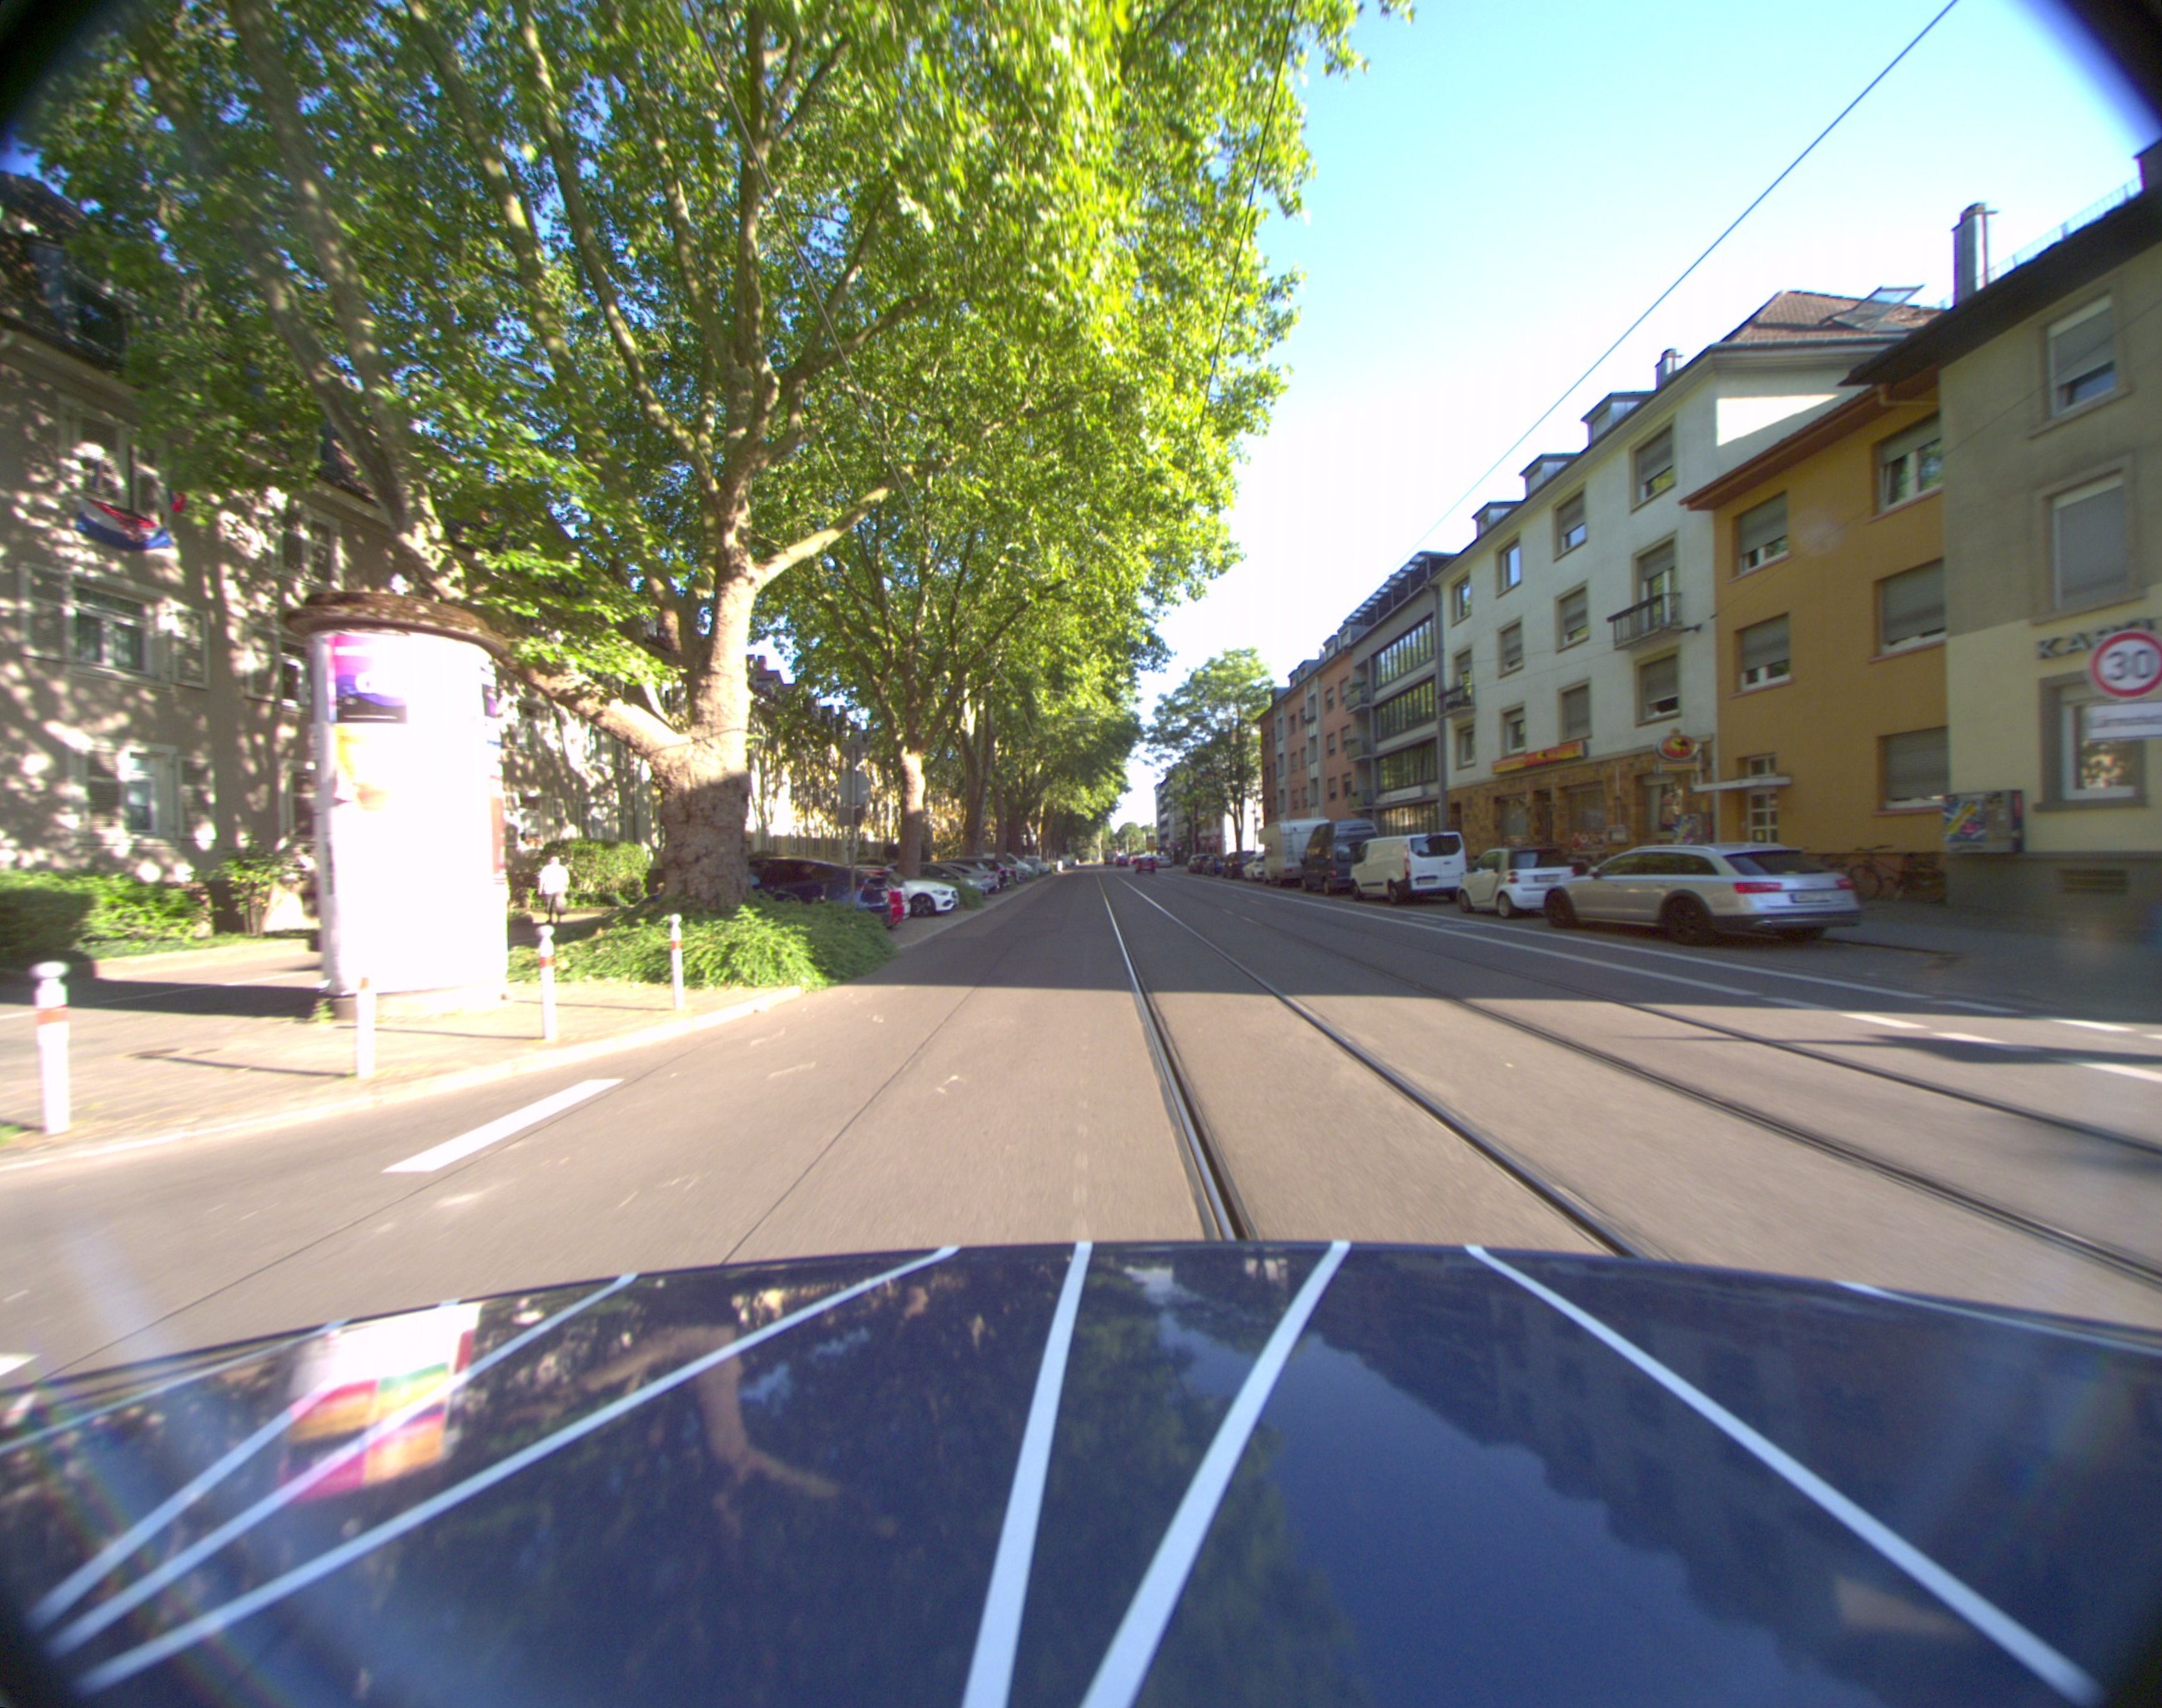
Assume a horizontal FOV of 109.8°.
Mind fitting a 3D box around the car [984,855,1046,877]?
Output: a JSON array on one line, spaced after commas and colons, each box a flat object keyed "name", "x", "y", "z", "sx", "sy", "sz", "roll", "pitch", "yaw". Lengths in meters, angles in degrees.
[{"name": "car", "x": -5.110, "y": 0.938, "z": 59.400, "sx": 4.611, "sy": 1.631, "sz": 1.893, "roll": -1, "pitch": 0, "yaw": 4}]

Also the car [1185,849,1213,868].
[{"name": "car", "x": 10.603, "y": 0.419, "z": 68.321, "sx": 1.791, "sy": 1.586, "sz": 4.097, "roll": -3, "pitch": 0, "yaw": 0}]

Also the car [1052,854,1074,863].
[{"name": "car", "x": -3.003, "y": 0.687, "z": 126.468, "sx": 3.582, "sy": 1.448, "sz": 1.771, "roll": -1, "pitch": 0, "yaw": 4}]

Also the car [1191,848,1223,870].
[{"name": "car", "x": 10.342, "y": 0.421, "z": 62.543, "sx": 1.791, "sy": 1.660, "sz": 4.434, "roll": -3, "pitch": 0, "yaw": 0}]

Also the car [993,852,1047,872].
[{"name": "car", "x": -5.528, "y": 0.716, "z": 69.400, "sx": 4.611, "sy": 1.705, "sz": 1.893, "roll": -1, "pitch": 0, "yaw": 4}]

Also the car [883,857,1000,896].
[{"name": "car", "x": -5.905, "y": 0.964, "z": 32.500, "sx": 4.611, "sy": 1.557, "sz": 1.893, "roll": -1, "pitch": 0, "yaw": 4}]

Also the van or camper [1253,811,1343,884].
[{"name": "van or camper", "x": 10.060, "y": -0.297, "z": 35.803, "sx": 2.423, "sy": 2.960, "sz": 5.991, "roll": -5, "pitch": 0, "yaw": 2}]

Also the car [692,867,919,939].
[{"name": "car", "x": -5.996, "y": 1.050, "z": 16.952, "sx": 4.368, "sy": 1.436, "sz": 1.893, "roll": -1, "pitch": 0, "yaw": -1}]

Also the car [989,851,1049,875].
[{"name": "car", "x": -4.995, "y": 0.727, "z": 61.737, "sx": 4.611, "sy": 1.781, "sz": 1.893, "roll": -1, "pitch": 0, "yaw": 4}]

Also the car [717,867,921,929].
[{"name": "car", "x": -6.554, "y": 1.080, "z": 19.323, "sx": 4.508, "sy": 1.436, "sz": 1.893, "roll": -1, "pitch": 0, "yaw": 4}]

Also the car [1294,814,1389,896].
[{"name": "car", "x": 9.816, "y": 0.019, "z": 29.060, "sx": 1.927, "sy": 2.730, "sz": 4.546, "roll": -6, "pitch": 0, "yaw": 1}]

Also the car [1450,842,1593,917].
[{"name": "car", "x": 9.866, "y": 0.518, "z": 17.246, "sx": 1.575, "sy": 1.484, "sz": 2.883, "roll": -3, "pitch": 0, "yaw": 1}]

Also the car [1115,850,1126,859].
[{"name": "car", "x": 6.830, "y": 0.063, "z": 133.140, "sx": 1.769, "sy": 1.448, "sz": 3.586, "roll": -2, "pitch": 0, "yaw": 1}]

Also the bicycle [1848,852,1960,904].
[{"name": "bicycle", "x": 15.565, "y": 0.431, "z": 14.431, "sx": 0.362, "sy": 0.923, "sz": 1.647, "roll": -2, "pitch": 0, "yaw": 1}]

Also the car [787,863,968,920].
[{"name": "car", "x": -5.723, "y": 1.044, "z": 21.745, "sx": 4.611, "sy": 1.485, "sz": 1.893, "roll": -1, "pitch": 0, "yaw": 4}]

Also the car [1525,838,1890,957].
[{"name": "car", "x": 9.734, "y": 0.564, "z": 12.512, "sx": 1.776, "sy": 1.484, "sz": 4.940, "roll": -3, "pitch": 0, "yaw": -2}]

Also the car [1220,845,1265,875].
[{"name": "car", "x": 10.063, "y": 0.359, "z": 47.739, "sx": 1.791, "sy": 1.743, "sz": 4.434, "roll": -3, "pitch": 0, "yaw": 0}]

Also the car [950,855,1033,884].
[{"name": "car", "x": -5.282, "y": 0.904, "z": 45.150, "sx": 4.611, "sy": 1.631, "sz": 1.893, "roll": -1, "pitch": 0, "yaw": 4}]

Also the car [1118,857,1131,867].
[{"name": "car", "x": 6.676, "y": 1.266, "z": 117.552, "sx": 1.769, "sy": 1.448, "sz": 3.586, "roll": -2, "pitch": 0, "yaw": 1}]

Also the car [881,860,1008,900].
[{"name": "car", "x": -5.348, "y": 1.008, "z": 30.119, "sx": 4.611, "sy": 1.485, "sz": 1.893, "roll": -1, "pitch": 0, "yaw": 4}]

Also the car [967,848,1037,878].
[{"name": "car", "x": -5.577, "y": 0.660, "z": 53.883, "sx": 4.636, "sy": 2.001, "sz": 1.893, "roll": -1, "pitch": 0, "yaw": 4}]

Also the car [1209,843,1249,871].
[{"name": "car", "x": 10.274, "y": 0.199, "z": 53.020, "sx": 1.791, "sy": 1.743, "sz": 4.434, "roll": -3, "pitch": 0, "yaw": 0}]

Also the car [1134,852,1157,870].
[{"name": "car", "x": 5.776, "y": 0.613, "z": 68.000, "sx": 1.769, "sy": 1.448, "sz": 3.586, "roll": -2, "pitch": 0, "yaw": 1}]

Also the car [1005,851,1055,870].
[{"name": "car", "x": -4.974, "y": 0.655, "z": 74.029, "sx": 4.611, "sy": 1.705, "sz": 1.893, "roll": -1, "pitch": 0, "yaw": 4}]

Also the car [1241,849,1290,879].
[{"name": "car", "x": 10.162, "y": 0.530, "z": 42.067, "sx": 1.791, "sy": 1.506, "sz": 3.473, "roll": -3, "pitch": 0, "yaw": 0}]

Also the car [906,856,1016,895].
[{"name": "car", "x": -5.397, "y": 0.958, "z": 34.462, "sx": 4.611, "sy": 1.631, "sz": 1.893, "roll": -1, "pitch": 0, "yaw": 4}]

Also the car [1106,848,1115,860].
[{"name": "car", "x": 6.914, "y": 0.056, "z": 181.053, "sx": 1.998, "sy": 2.756, "sz": 4.742, "roll": -2, "pitch": 0, "yaw": 1}]

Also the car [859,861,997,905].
[{"name": "car", "x": -5.544, "y": 1.050, "z": 27.849, "sx": 4.611, "sy": 1.485, "sz": 1.893, "roll": -1, "pitch": 0, "yaw": 4}]

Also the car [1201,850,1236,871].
[{"name": "car", "x": 10.400, "y": 0.439, "z": 57.785, "sx": 1.791, "sy": 1.462, "sz": 4.434, "roll": -3, "pitch": 0, "yaw": 0}]

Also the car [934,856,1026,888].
[{"name": "car", "x": -5.420, "y": 0.967, "z": 41.120, "sx": 4.611, "sy": 1.631, "sz": 1.893, "roll": -1, "pitch": 0, "yaw": 4}]

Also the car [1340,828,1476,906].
[{"name": "car", "x": 9.772, "y": 0.348, "z": 23.183, "sx": 1.928, "sy": 2.034, "sz": 4.941, "roll": -3, "pitch": 0, "yaw": 0}]

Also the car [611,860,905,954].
[{"name": "car", "x": -6.015, "y": 0.963, "z": 14.567, "sx": 4.810, "sy": 1.621, "sz": 1.893, "roll": -1, "pitch": 0, "yaw": 1}]

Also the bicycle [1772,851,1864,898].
[{"name": "bicycle", "x": 15.612, "y": 0.413, "z": 16.148, "sx": 0.362, "sy": 0.923, "sz": 1.647, "roll": -2, "pitch": 0, "yaw": 1}]

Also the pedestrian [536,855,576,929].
[{"name": "pedestrian", "x": -12.994, "y": 0.922, "z": 18.806, "sx": 0.642, "sy": 1.757, "sz": 0.618, "roll": -2, "pitch": 1, "yaw": -45}]

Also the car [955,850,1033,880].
[{"name": "car", "x": -5.420, "y": 0.709, "z": 47.659, "sx": 4.611, "sy": 1.781, "sz": 1.893, "roll": -1, "pitch": 0, "yaw": 4}]
